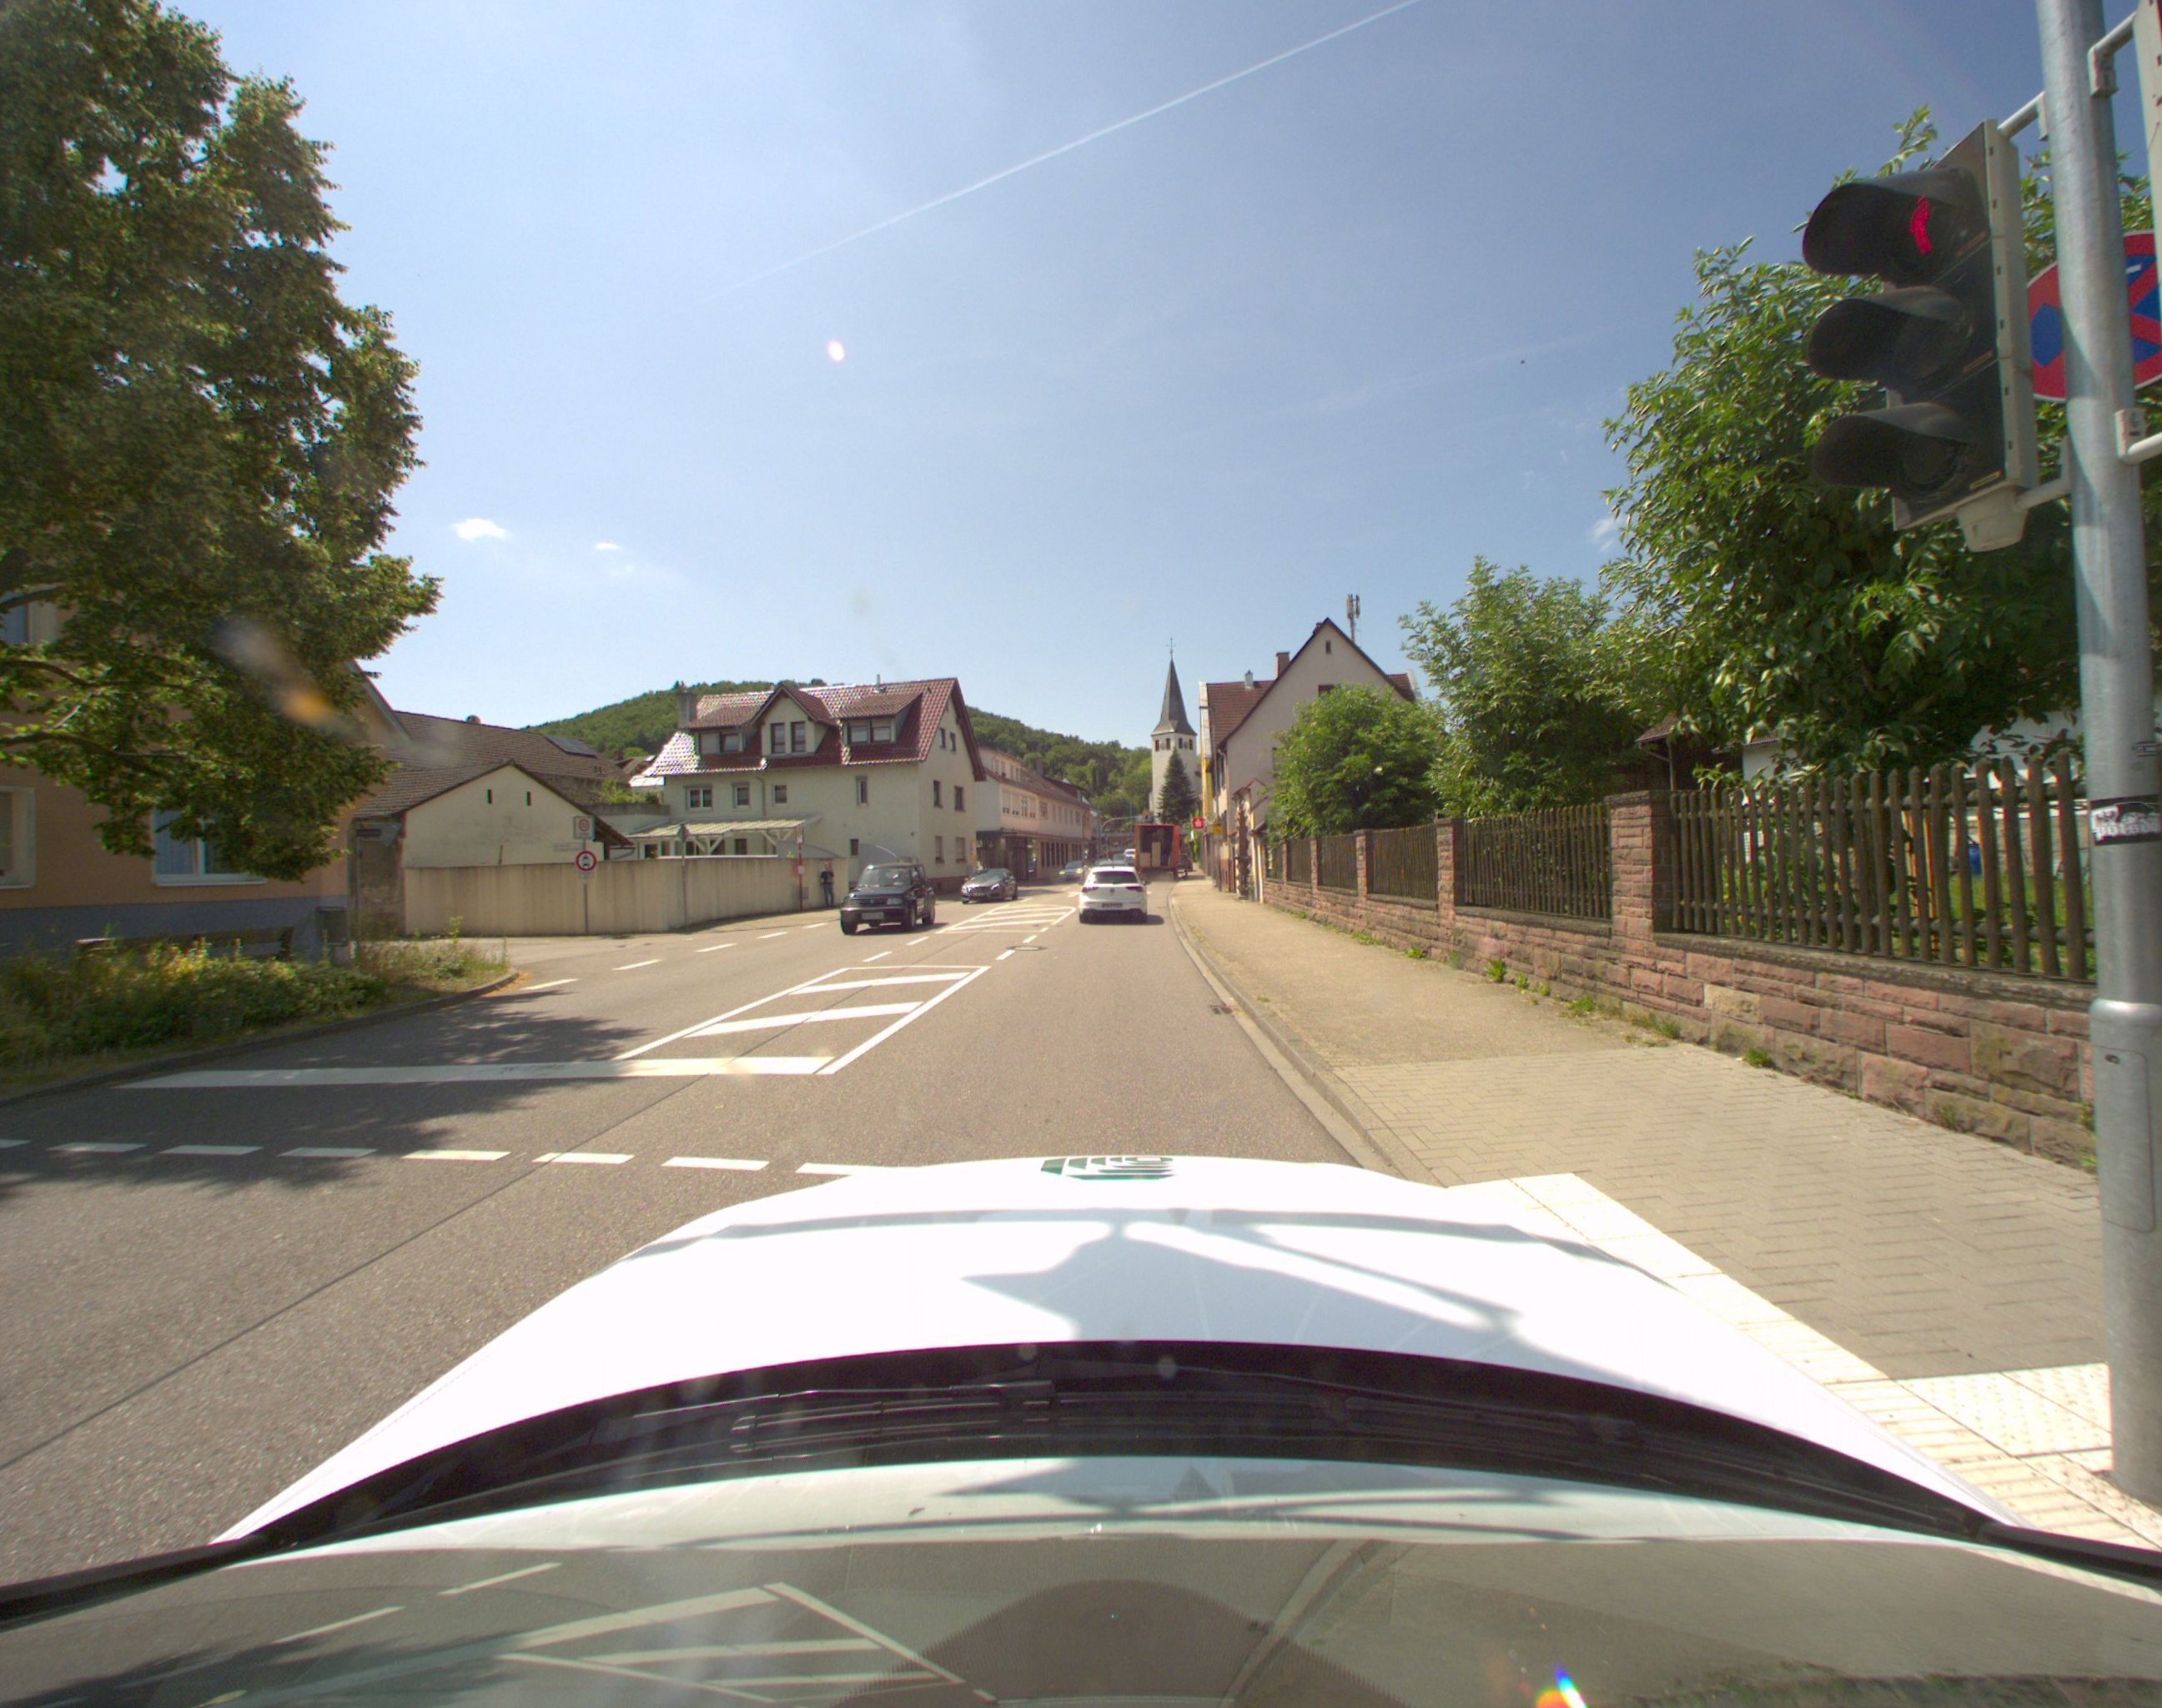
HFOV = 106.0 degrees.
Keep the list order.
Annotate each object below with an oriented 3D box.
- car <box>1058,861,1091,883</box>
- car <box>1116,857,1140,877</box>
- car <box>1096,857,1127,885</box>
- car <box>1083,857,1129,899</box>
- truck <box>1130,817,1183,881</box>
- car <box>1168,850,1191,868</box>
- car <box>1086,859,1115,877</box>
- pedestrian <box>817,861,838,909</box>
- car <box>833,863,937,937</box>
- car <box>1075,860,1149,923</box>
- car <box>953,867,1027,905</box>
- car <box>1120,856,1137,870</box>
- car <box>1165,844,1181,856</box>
[{"bbox_3d":[-0.444,1.328,60.983,1.785,1.508,4.142,-3,-1,8],"label":"car"},{"bbox_3d":[3.896,1.080,67.467,1.807,1.519,4.003,-3,-1,3],"label":"car"},{"bbox_3d":[2.021,1.090,52.390,1.807,1.629,4.003,-3,-1,3],"label":"car"},{"bbox_3d":[1.162,1.037,35.834,1.807,1.629,4.003,-3,-1,3],"label":"car"},{"bbox_3d":[5.613,-0.256,60.206,3.350,4.170,9.533,-3,-1,6],"label":"truck"},{"bbox_3d":[9.063,0.506,74.952,1.807,1.519,4.003,-3,-1,3],"label":"car"},{"bbox_3d":[1.815,1.252,74.009,1.782,1.493,4.434,-3,-1,11],"label":"car"},{"bbox_3d":[-9.617,1.172,30.910,0.430,1.764,0.560,-2,-1,22],"label":"pedestrian"},{"bbox_3d":[-4.828,1.072,20.573,1.733,1.651,3.667,-2,-1,-1],"label":"car"},{"bbox_3d":[0.898,0.964,22.106,1.807,1.519,4.003,-1,-1,3],"label":"car"},{"bbox_3d":[-3.861,1.327,35.294,1.850,1.442,4.231,-3,-1,12],"label":"car"},{"bbox_3d":[6.574,1.191,111.719,1.791,1.780,4.717,-3,0,9],"label":"car"},{"bbox_3d":[12.526,-0.537,110.986,1.807,1.519,4.003,-3,-1,3],"label":"car"}]
